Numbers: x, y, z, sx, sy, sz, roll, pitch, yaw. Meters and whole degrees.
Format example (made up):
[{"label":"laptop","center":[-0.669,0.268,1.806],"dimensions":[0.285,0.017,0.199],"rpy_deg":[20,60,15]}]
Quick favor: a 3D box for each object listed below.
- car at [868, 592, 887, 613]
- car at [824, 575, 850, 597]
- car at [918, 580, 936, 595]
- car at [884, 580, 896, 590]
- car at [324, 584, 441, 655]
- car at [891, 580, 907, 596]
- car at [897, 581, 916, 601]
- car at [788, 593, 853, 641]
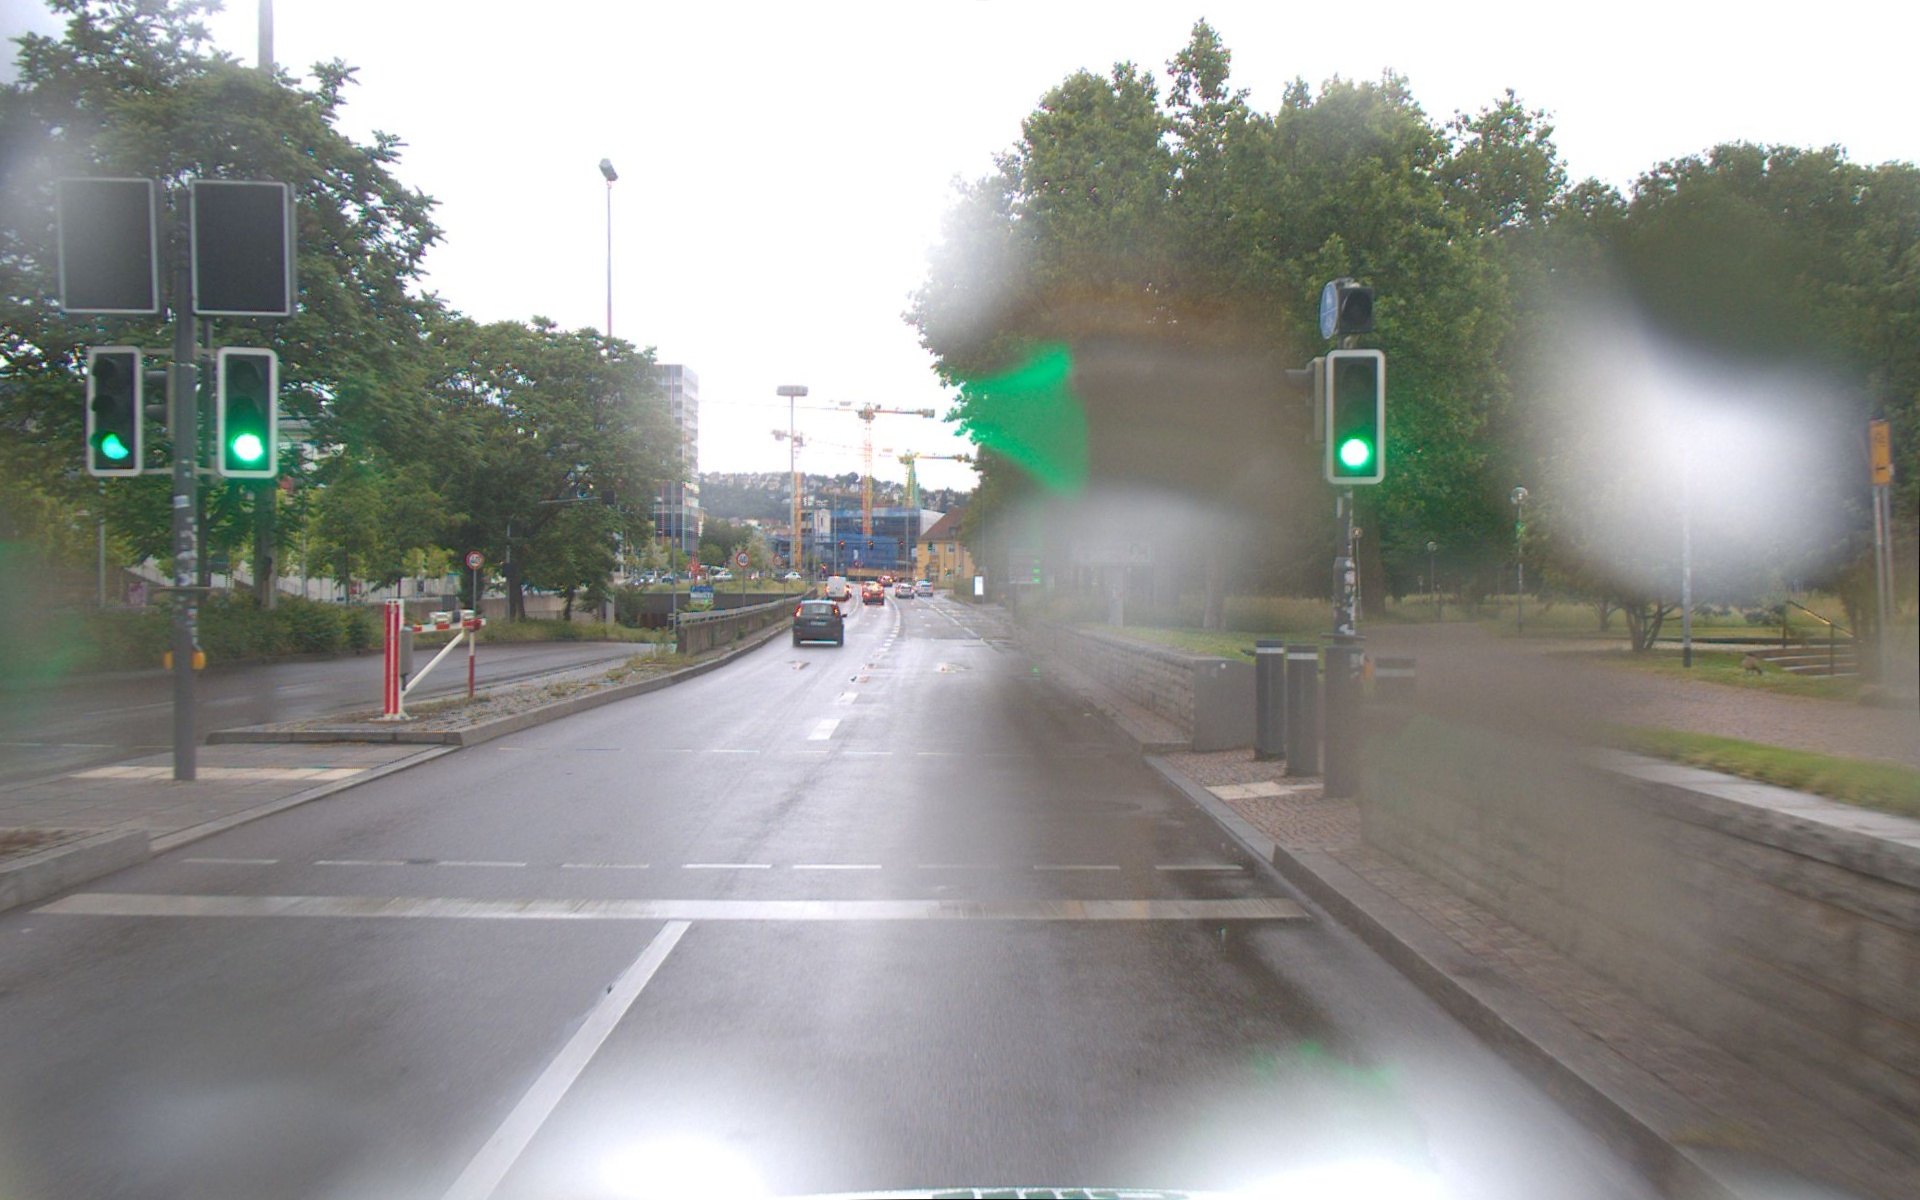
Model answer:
[{"label":"car","center":[-7.609,0.255,152.468],"dimensions":[1.704,1.802,3.997],"rpy_deg":[-2,-1,-3]},{"label":"car","center":[-12.088,-1.365,162.461],"dimensions":[2.174,2.049,3.999],"rpy_deg":[-2,-1,-1]},{"label":"car","center":[-3.890,-1.511,196.234],"dimensions":[1.953,1.627,3.999],"rpy_deg":[-2,-1,-1]},{"label":"car","center":[-10.547,-2.255,248.215],"dimensions":[1.686,1.584,3.583],"rpy_deg":[0,0,-1]},{"label":"car","center":[-14.150,0.449,40.763],"dimensions":[1.956,1.661,3.993],"rpy_deg":[0,0,-8]},{"label":"car","center":[-6.912,-1.320,187.206],"dimensions":[1.678,1.719,3.848],"rpy_deg":[-2,-1,-1]},{"label":"car","center":[-5.847,-0.951,181.727],"dimensions":[1.948,2.049,3.997],"rpy_deg":[-2,-1,-3]},{"label":"car","center":[-4.577,0.566,53.830],"dimensions":[1.810,1.441,3.831],"rpy_deg":[-2,-1,-9]}]
